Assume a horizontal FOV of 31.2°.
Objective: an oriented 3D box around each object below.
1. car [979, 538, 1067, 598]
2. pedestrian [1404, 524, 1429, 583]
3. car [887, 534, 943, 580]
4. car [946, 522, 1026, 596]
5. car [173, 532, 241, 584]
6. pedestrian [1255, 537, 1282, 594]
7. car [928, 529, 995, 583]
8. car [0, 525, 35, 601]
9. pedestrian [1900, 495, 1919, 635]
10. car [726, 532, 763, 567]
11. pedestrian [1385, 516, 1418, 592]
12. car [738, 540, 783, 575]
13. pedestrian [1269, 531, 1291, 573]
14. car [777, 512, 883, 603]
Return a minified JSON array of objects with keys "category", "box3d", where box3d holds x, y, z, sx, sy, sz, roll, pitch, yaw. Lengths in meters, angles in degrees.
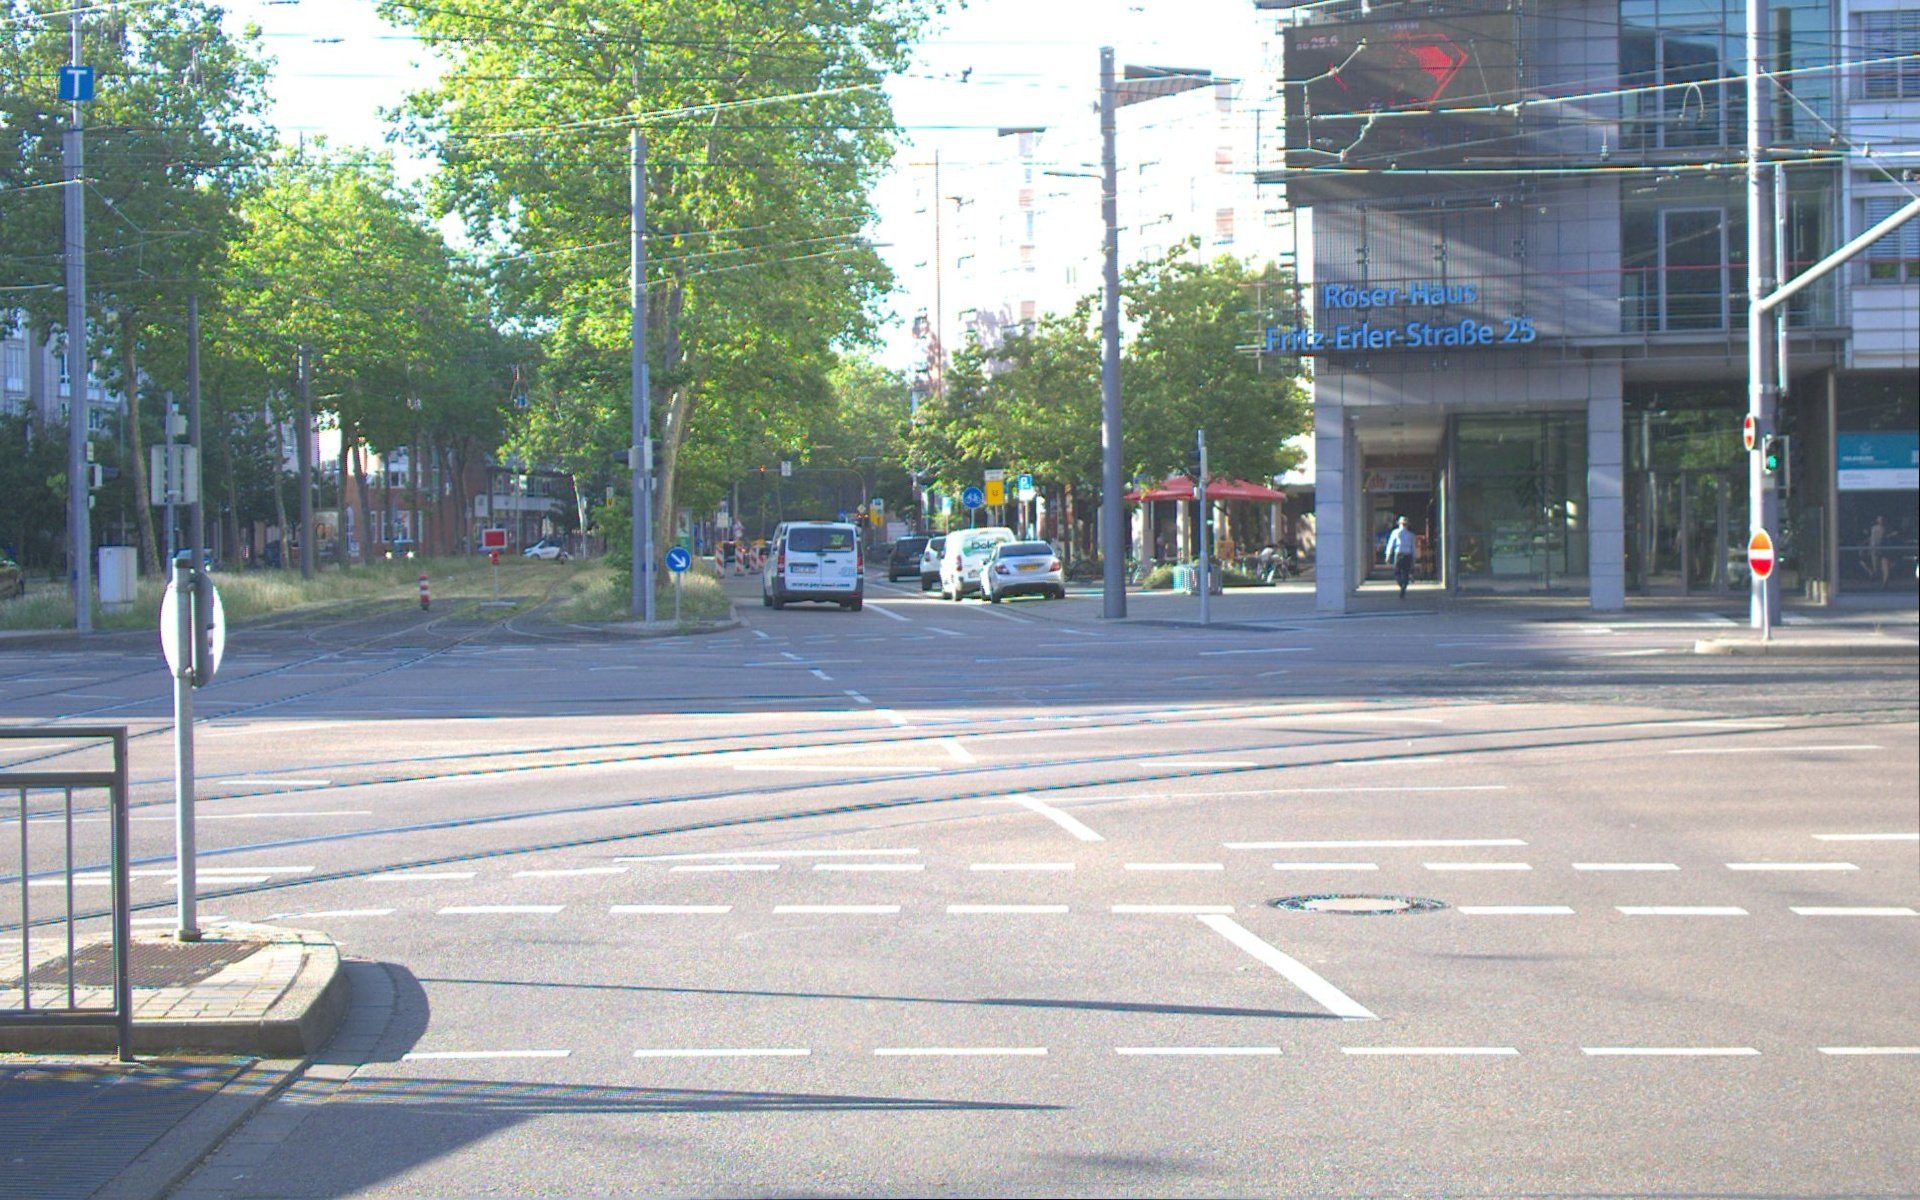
[{"category":"car","box3d":[1.491,-0.784,82.767,1.993,1.371,4.000,-1,1,-1]},{"category":"pedestrian","box3d":[11.733,-1.187,88.318,0.612,1.502,0.579,-1,1,7]},{"category":"car","box3d":[-1.645,-1.595,126.658,1.993,1.612,4.000,-1,1,0]},{"category":"car","box3d":[0.647,-1.094,89.562,1.993,1.853,4.000,-1,1,-1]},{"category":"car","box3d":[-29.607,-1.666,135.268,1.993,2.007,4.001,-1,1,-3]},{"category":"pedestrian","box3d":[9.426,-1.055,104.930,0.744,1.708,0.612,-1,1,-1]},{"category":"car","box3d":[0.034,-1.357,105.208,1.993,1.612,4.000,-1,1,0]},{"category":"car","box3d":[-21.666,-0.797,74.915,1.993,1.634,4.000,-1,1,-1]},{"category":"pedestrian","box3d":[12.599,-0.454,44.161,0.864,1.782,0.871,-1,1,6]},{"category":"car","box3d":[-12.819,-3.024,204.755,1.993,2.007,4.000,-1,1,-1]},{"category":"pedestrian","box3d":[8.833,-0.922,68.777,0.612,1.502,0.579,-1,1,6]},{"category":"car","box3d":[-8.505,-1.803,146.897,1.797,1.437,4.000,1,1,-2]},{"category":"pedestrian","box3d":[9.918,-1.489,106.510,0.577,1.284,0.910,-1,1,-1]},{"category":"car","box3d":[-2.740,-0.931,73.369,1.961,1.842,5.330,-1,1,1]}]
